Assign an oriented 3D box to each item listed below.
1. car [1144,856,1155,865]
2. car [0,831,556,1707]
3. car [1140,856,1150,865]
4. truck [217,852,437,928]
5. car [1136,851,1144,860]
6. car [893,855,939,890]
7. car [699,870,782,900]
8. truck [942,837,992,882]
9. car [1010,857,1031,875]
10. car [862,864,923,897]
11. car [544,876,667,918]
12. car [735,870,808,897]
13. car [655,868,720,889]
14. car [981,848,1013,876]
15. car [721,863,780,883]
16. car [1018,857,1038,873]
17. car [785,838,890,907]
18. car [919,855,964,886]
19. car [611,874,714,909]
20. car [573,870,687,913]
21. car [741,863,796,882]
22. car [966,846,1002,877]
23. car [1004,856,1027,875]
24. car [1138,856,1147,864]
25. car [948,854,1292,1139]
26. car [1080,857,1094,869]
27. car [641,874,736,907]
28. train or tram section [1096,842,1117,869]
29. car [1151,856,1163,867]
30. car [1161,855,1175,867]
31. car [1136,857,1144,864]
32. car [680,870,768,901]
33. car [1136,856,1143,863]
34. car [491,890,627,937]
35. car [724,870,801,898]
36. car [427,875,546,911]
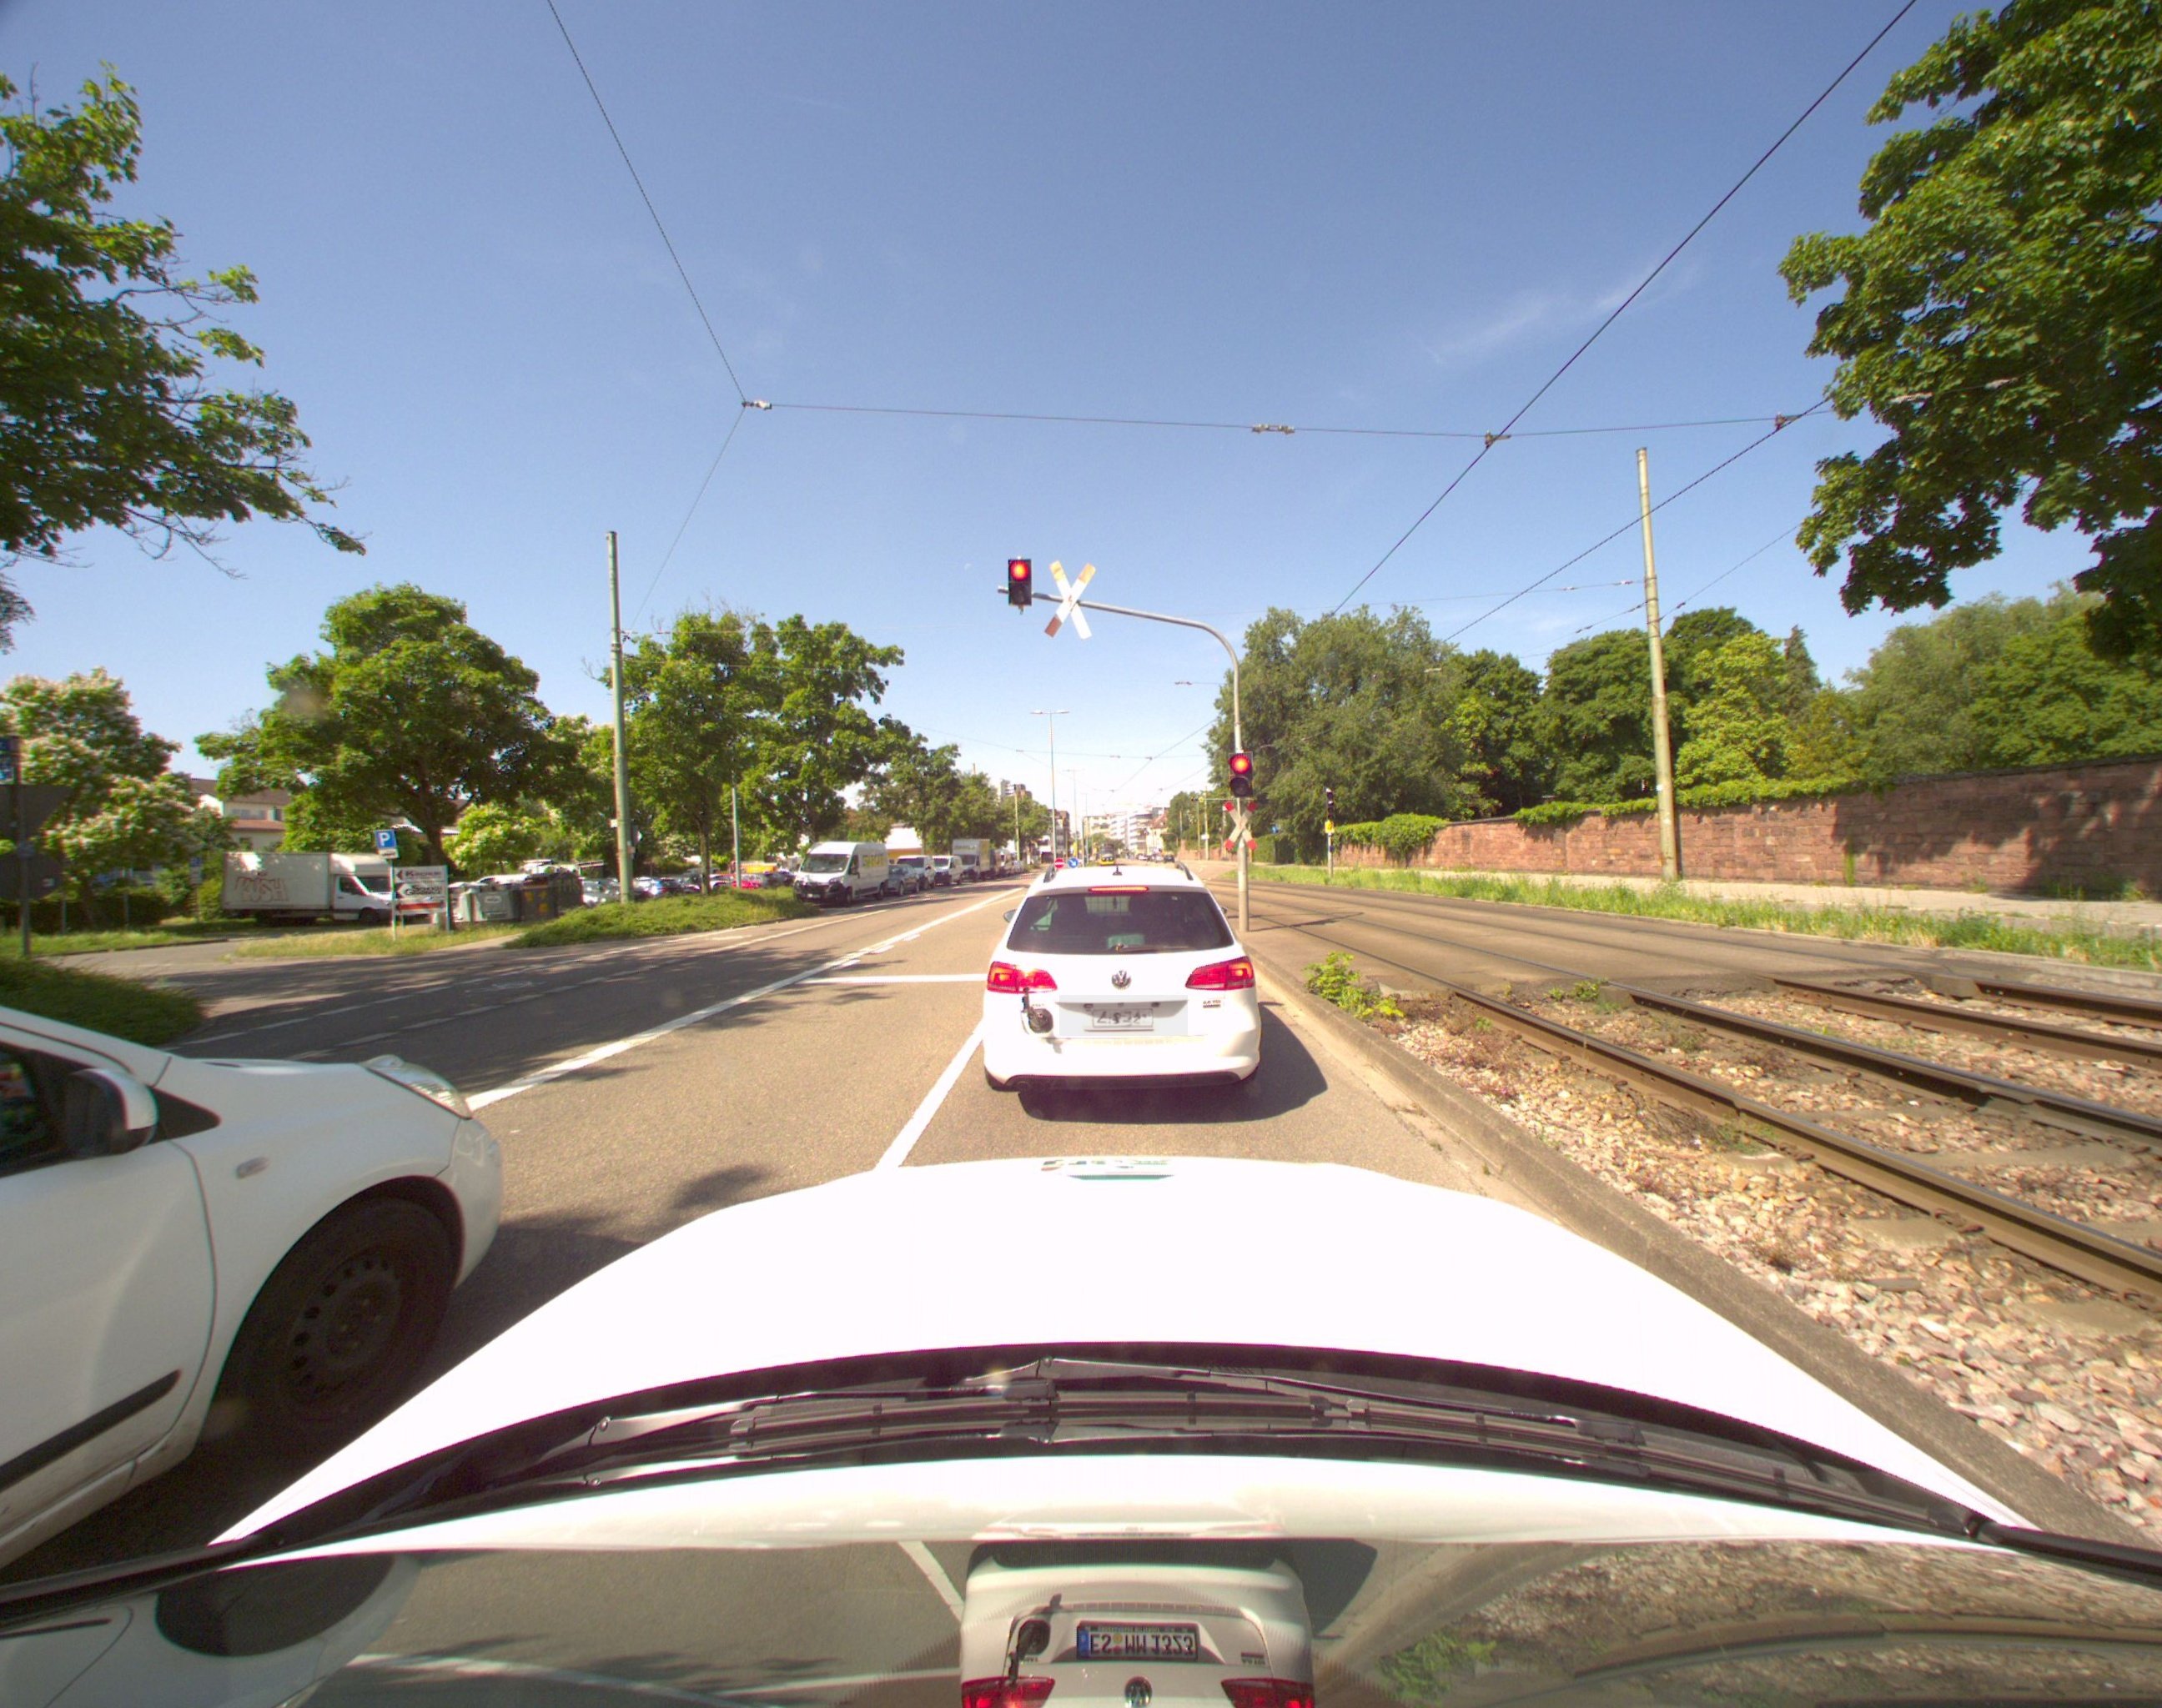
[{"bbox_3d":[13.603,1.285,161.030,1.857,1.868,5.063,0,0,1],"label":"car"},{"bbox_3d":[-2.760,0.752,0.601,1.656,1.547,4.548,-1,0,2],"label":"car"},{"bbox_3d":[14.098,1.415,178.567,1.857,1.868,5.063,0,0,1],"label":"car"},{"bbox_3d":[-32.423,1.492,35.201,6.978,3.110,2.677,0,0,0],"label":"truck"},{"bbox_3d":[18.520,0.561,254.913,2.049,2.759,5.632,0,0,1],"label":"car"},{"bbox_3d":[-9.192,0.992,45.682,1.859,1.868,5.068,0,0,-3],"label":"car"},{"bbox_3d":[-19.607,1.768,47.058,3.977,1.415,1.729,-4,-1,-3],"label":"car"},{"bbox_3d":[-8.380,0.413,60.684,2.411,3.150,7.001,0,0,2],"label":"truck"},{"bbox_3d":[-6.772,1.312,92.021,1.856,1.868,5.415,0,0,1],"label":"car"},{"bbox_3d":[-8.981,1.223,39.130,1.856,1.415,4.281,0,0,1],"label":"car"},{"bbox_3d":[-19.664,1.768,33.792,3.977,1.415,1.729,-4,-1,-3],"label":"car"},{"bbox_3d":[-19.791,1.867,52.181,3.977,1.415,1.729,-4,-1,-3],"label":"car"},{"bbox_3d":[-35.196,2.196,72.967,4.780,1.787,2.062,0,-1,-3],"label":"car"},{"bbox_3d":[-7.770,0.678,76.115,2.114,2.516,5.737,0,0,2],"label":"car"},{"bbox_3d":[-31.551,1.820,77.901,4.780,1.787,2.062,0,-1,-3],"label":"car"},{"bbox_3d":[-6.390,1.294,98.933,1.856,1.868,5.415,0,0,1],"label":"car"},{"bbox_3d":[-9.579,0.687,32.668,2.114,2.516,5.822,0,0,3],"label":"car"},{"bbox_3d":[-8.869,1.013,52.263,1.856,1.868,5.415,0,0,1],"label":"car"},{"bbox_3d":[-20.294,1.805,39.598,3.977,1.415,1.729,-4,-1,-3],"label":"car"},{"bbox_3d":[-19.915,1.629,36.062,3.977,1.610,1.729,-4,-1,-3],"label":"car"},{"bbox_3d":[-31.772,1.861,82.772,4.780,1.787,2.062,0,-1,-3],"label":"car"},{"bbox_3d":[-8.146,0.618,68.682,2.114,2.516,5.737,0,0,2],"label":"car"},{"bbox_3d":[-6.823,1.151,85.204,1.856,1.868,5.415,0,0,1],"label":"car"},{"bbox_3d":[15.165,1.456,201.213,1.857,1.868,5.063,0,0,1],"label":"car"},{"bbox_3d":[0.266,0.757,6.311,1.756,1.430,4.002,-3,0,2],"label":"car"},{"bbox_3d":[0.838,1.187,112.481,1.698,1.473,4.593,-3,0,3],"label":"car"},{"bbox_3d":[-20.287,1.869,42.208,3.977,1.415,1.729,-4,-1,-3],"label":"car"},{"bbox_3d":[3.933,0.159,125.557,2.860,3.855,12.396,-3,0,2],"label":"train or tram section"},{"bbox_3d":[13.585,1.279,145.529,1.857,1.868,5.063,0,0,1],"label":"car"},{"bbox_3d":[13.857,1.132,129.559,1.857,1.868,5.063,0,0,1],"label":"car"},{"bbox_3d":[15.518,1.741,215.412,1.857,1.868,5.063,0,0,1],"label":"car"},{"bbox_3d":[-19.537,1.723,44.725,3.977,1.415,1.729,-4,-1,-3],"label":"car"},{"bbox_3d":[16.511,1.559,230.861,1.857,1.868,5.063,0,0,1],"label":"car"},{"bbox_3d":[-19.898,2.235,31.161,3.977,1.415,1.729,-4,-1,-3],"label":"car"},{"bbox_3d":[-19.461,1.822,49.875,3.977,1.415,1.729,-4,-1,-3],"label":"car"},{"bbox_3d":[-31.770,2.049,43.621,4.780,1.787,2.062,0,-1,-3],"label":"car"}]
